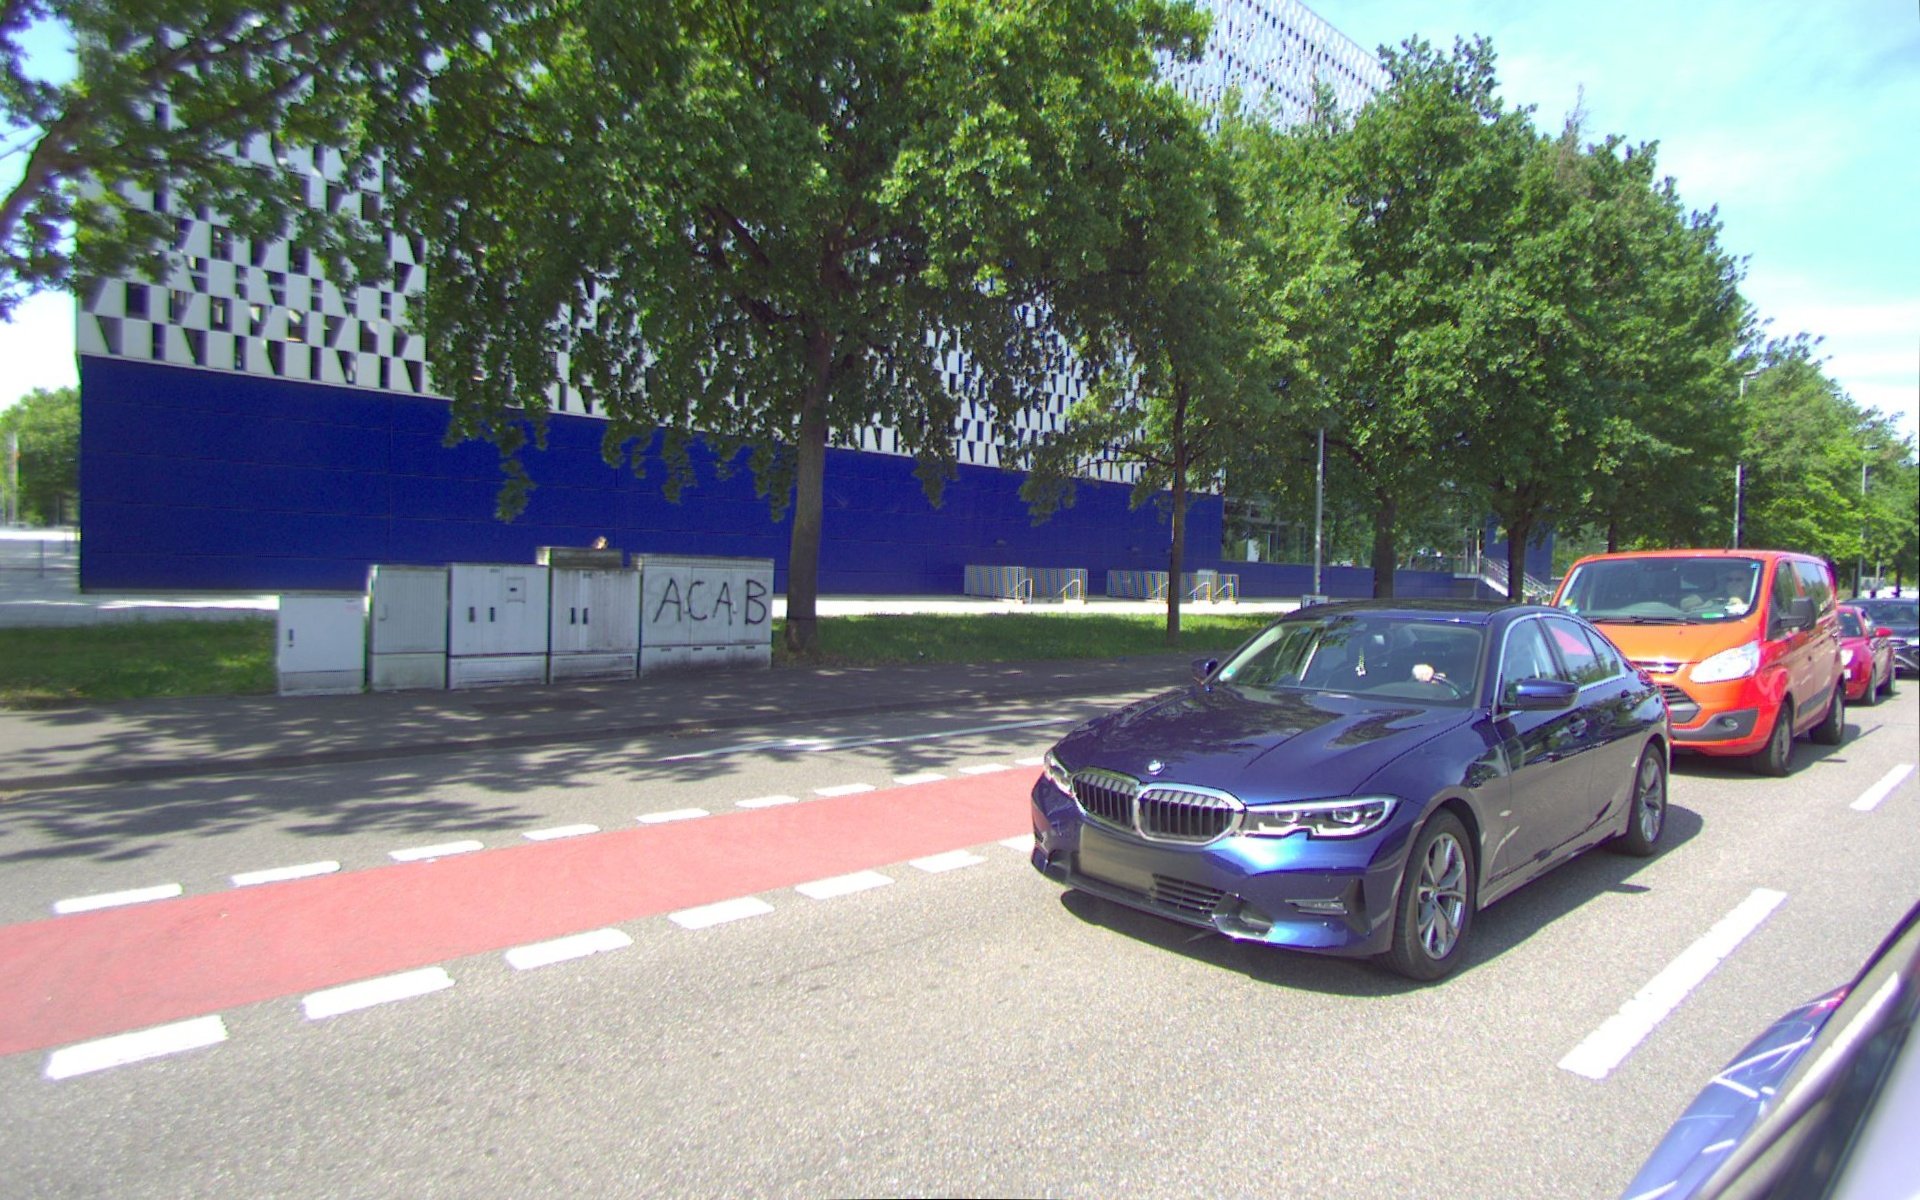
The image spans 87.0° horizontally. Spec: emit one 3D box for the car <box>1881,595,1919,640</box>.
[{"bbox_3d":[32.512,0.574,34.289,3.933,1.480,1.646,0,0,-44],"label":"car"}]

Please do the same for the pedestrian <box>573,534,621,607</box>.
[{"bbox_3d":[-7.911,-0.640,22.055,0.767,1.565,0.680,0,2,-41],"label":"pedestrian"}]

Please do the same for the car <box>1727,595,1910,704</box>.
[{"bbox_3d":[13.245,0.656,15.537,3.849,1.440,1.690,0,1,-43],"label":"car"}]

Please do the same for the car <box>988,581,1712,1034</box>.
[{"bbox_3d":[2.374,0.656,5.408,4.460,1.447,1.798,0,0,-42],"label":"car"}]

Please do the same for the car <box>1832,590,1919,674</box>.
[{"bbox_3d":[18.943,0.592,20.380,3.932,1.559,1.647,0,-1,-43],"label":"car"}]

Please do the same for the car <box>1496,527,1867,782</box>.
[{"bbox_3d":[7.282,0.397,9.997,4.727,1.931,2.012,0,0,-42],"label":"car"}]
